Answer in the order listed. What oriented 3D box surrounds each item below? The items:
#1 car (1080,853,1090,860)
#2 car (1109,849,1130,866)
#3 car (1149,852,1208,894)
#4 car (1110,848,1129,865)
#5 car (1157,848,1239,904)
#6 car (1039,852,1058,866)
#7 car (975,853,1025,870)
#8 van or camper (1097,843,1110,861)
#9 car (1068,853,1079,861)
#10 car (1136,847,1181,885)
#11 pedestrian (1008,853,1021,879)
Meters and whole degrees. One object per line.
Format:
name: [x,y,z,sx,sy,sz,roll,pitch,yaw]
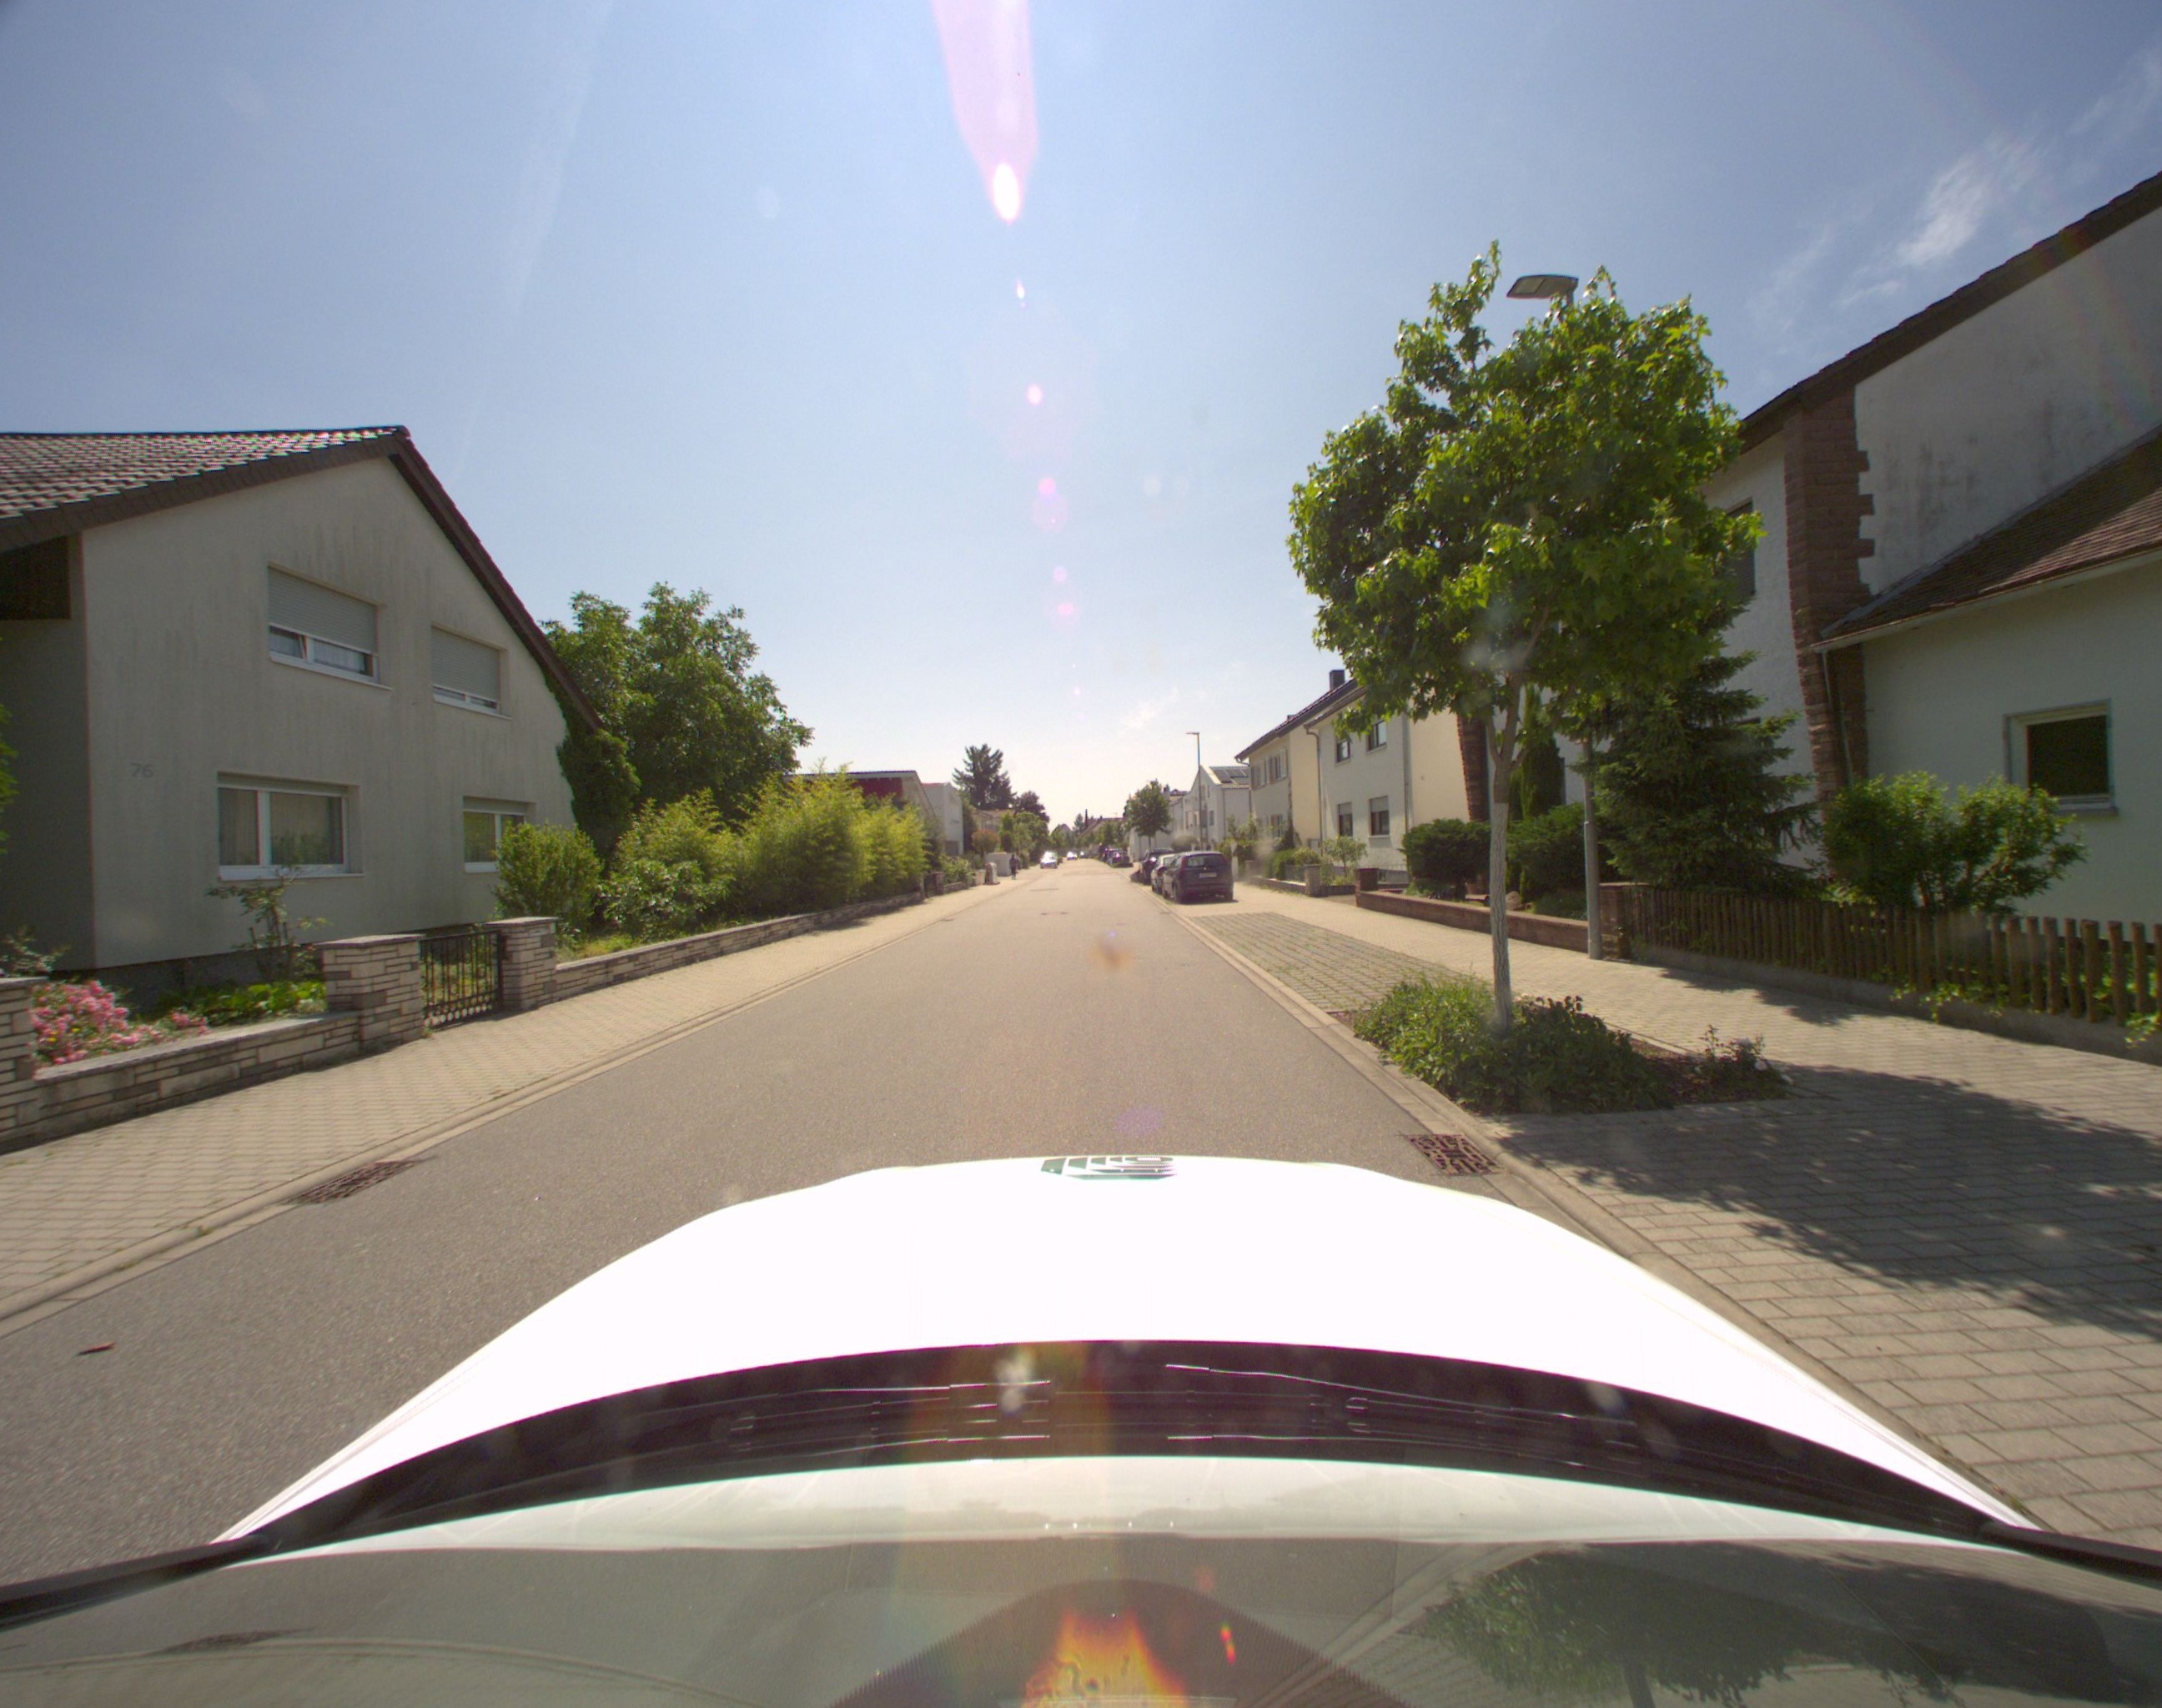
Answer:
car: [0.843,0.508,168.877,1.986,1.430,4.002,-2,0,2]
car: [3.922,0.354,83.499,1.768,1.595,4.276,-2,0,-2]
car: [3.624,0.671,30.958,1.808,1.420,4.094,-2,0,1]
car: [4.739,0.282,100.364,2.092,1.882,4.844,-2,0,1]
car: [3.532,0.615,25.346,1.737,1.533,4.446,-2,0,-2]
car: [-3.617,0.585,92.057,1.846,1.488,4.385,-2,0,0]
car: [-7.738,0.701,77.780,4.409,1.473,1.853,1,0,4]
van or camper: [3.844,-0.369,139.581,1.987,2.941,4.000,-2,0,0]
car: [-1.499,0.603,156.993,1.846,1.478,4.702,-2,0,2]
car: [3.756,0.543,39.979,1.808,1.656,4.565,-2,1,1]
pedestrian: [-4.571,0.819,55.967,0.712,1.747,0.961,-2,0,0]
